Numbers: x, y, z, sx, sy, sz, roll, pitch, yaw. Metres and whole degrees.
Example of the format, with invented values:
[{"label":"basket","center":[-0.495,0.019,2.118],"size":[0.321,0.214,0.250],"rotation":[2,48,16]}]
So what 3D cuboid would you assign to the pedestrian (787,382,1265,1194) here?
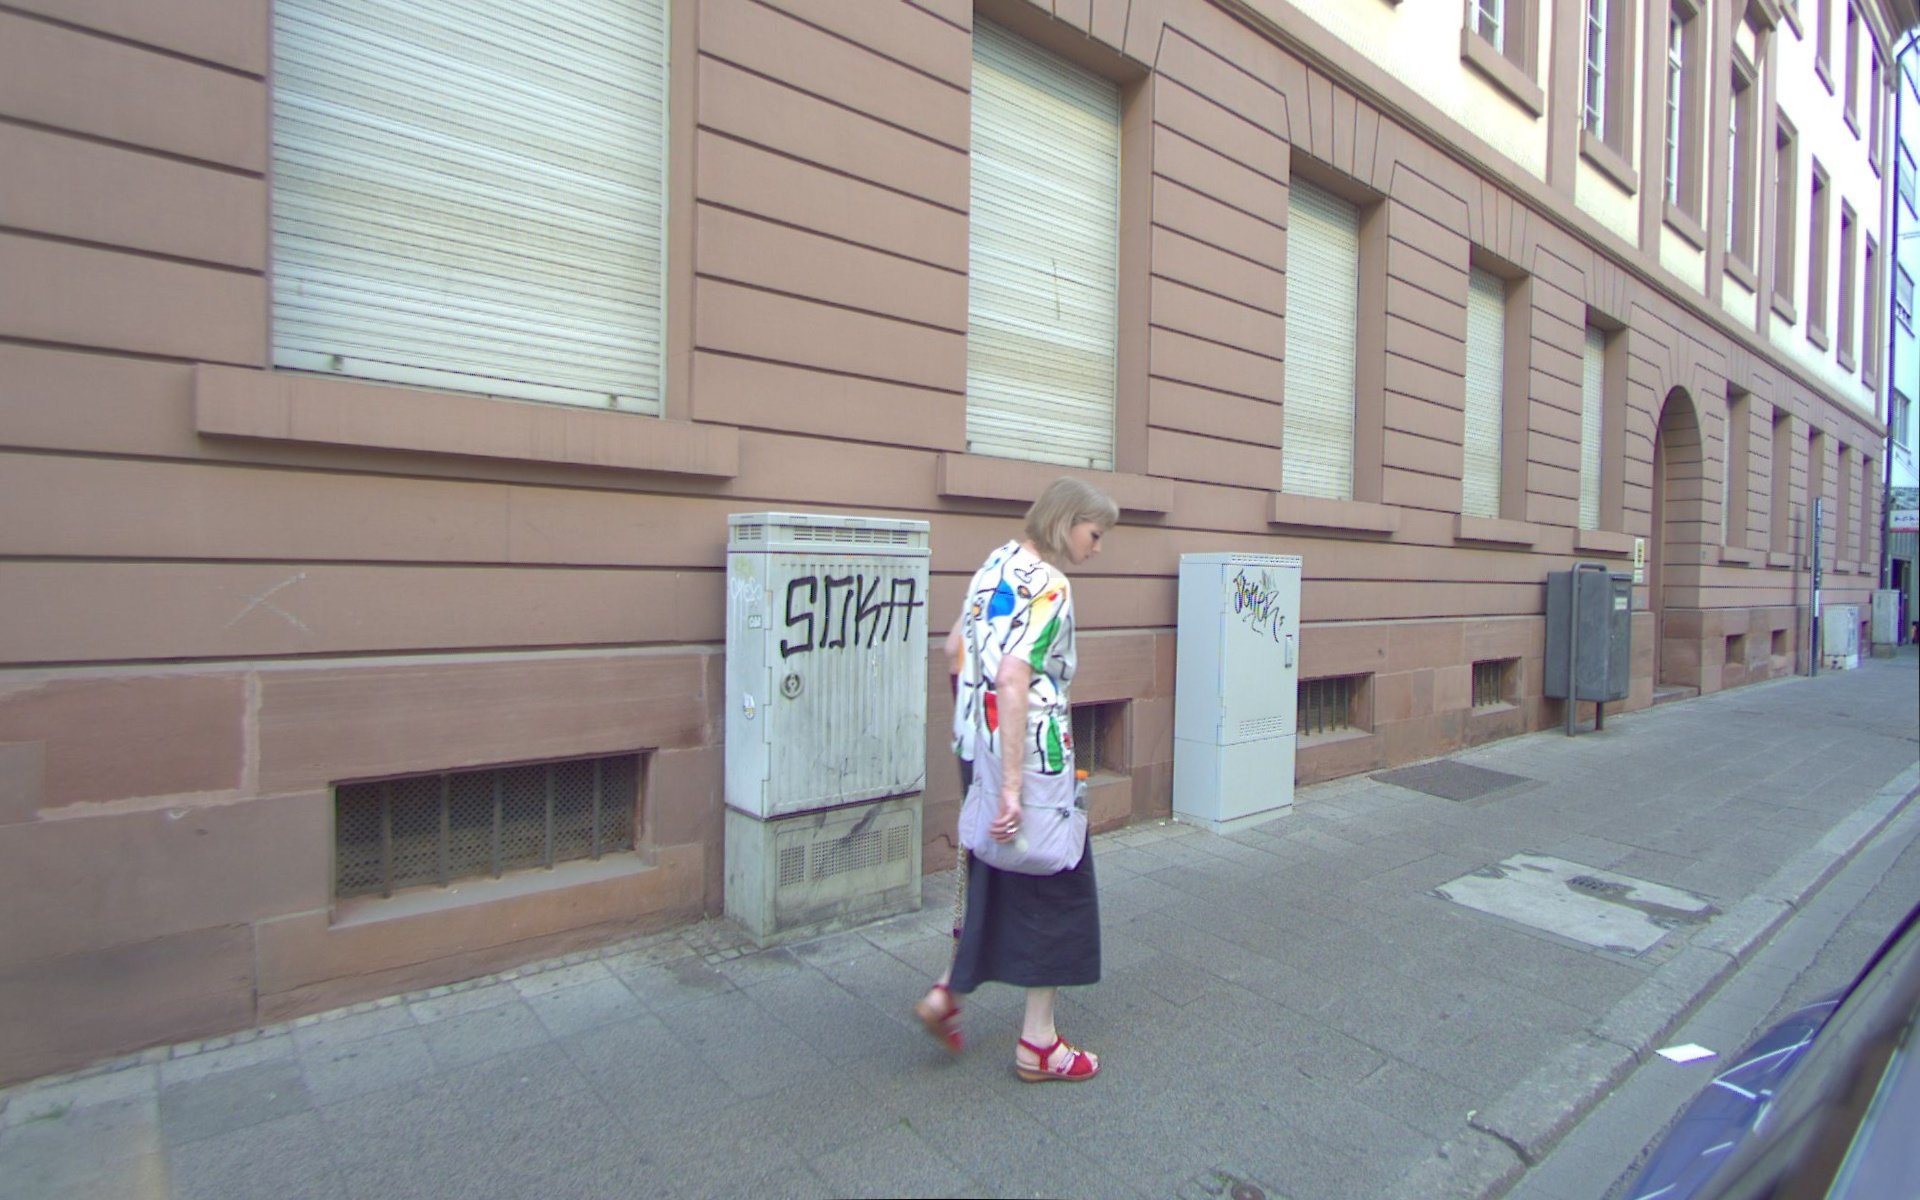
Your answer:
[{"label":"pedestrian","center":[0.145,0.392,2.826],"size":[0.880,1.824,0.849],"rotation":[0,6,-35]}]
